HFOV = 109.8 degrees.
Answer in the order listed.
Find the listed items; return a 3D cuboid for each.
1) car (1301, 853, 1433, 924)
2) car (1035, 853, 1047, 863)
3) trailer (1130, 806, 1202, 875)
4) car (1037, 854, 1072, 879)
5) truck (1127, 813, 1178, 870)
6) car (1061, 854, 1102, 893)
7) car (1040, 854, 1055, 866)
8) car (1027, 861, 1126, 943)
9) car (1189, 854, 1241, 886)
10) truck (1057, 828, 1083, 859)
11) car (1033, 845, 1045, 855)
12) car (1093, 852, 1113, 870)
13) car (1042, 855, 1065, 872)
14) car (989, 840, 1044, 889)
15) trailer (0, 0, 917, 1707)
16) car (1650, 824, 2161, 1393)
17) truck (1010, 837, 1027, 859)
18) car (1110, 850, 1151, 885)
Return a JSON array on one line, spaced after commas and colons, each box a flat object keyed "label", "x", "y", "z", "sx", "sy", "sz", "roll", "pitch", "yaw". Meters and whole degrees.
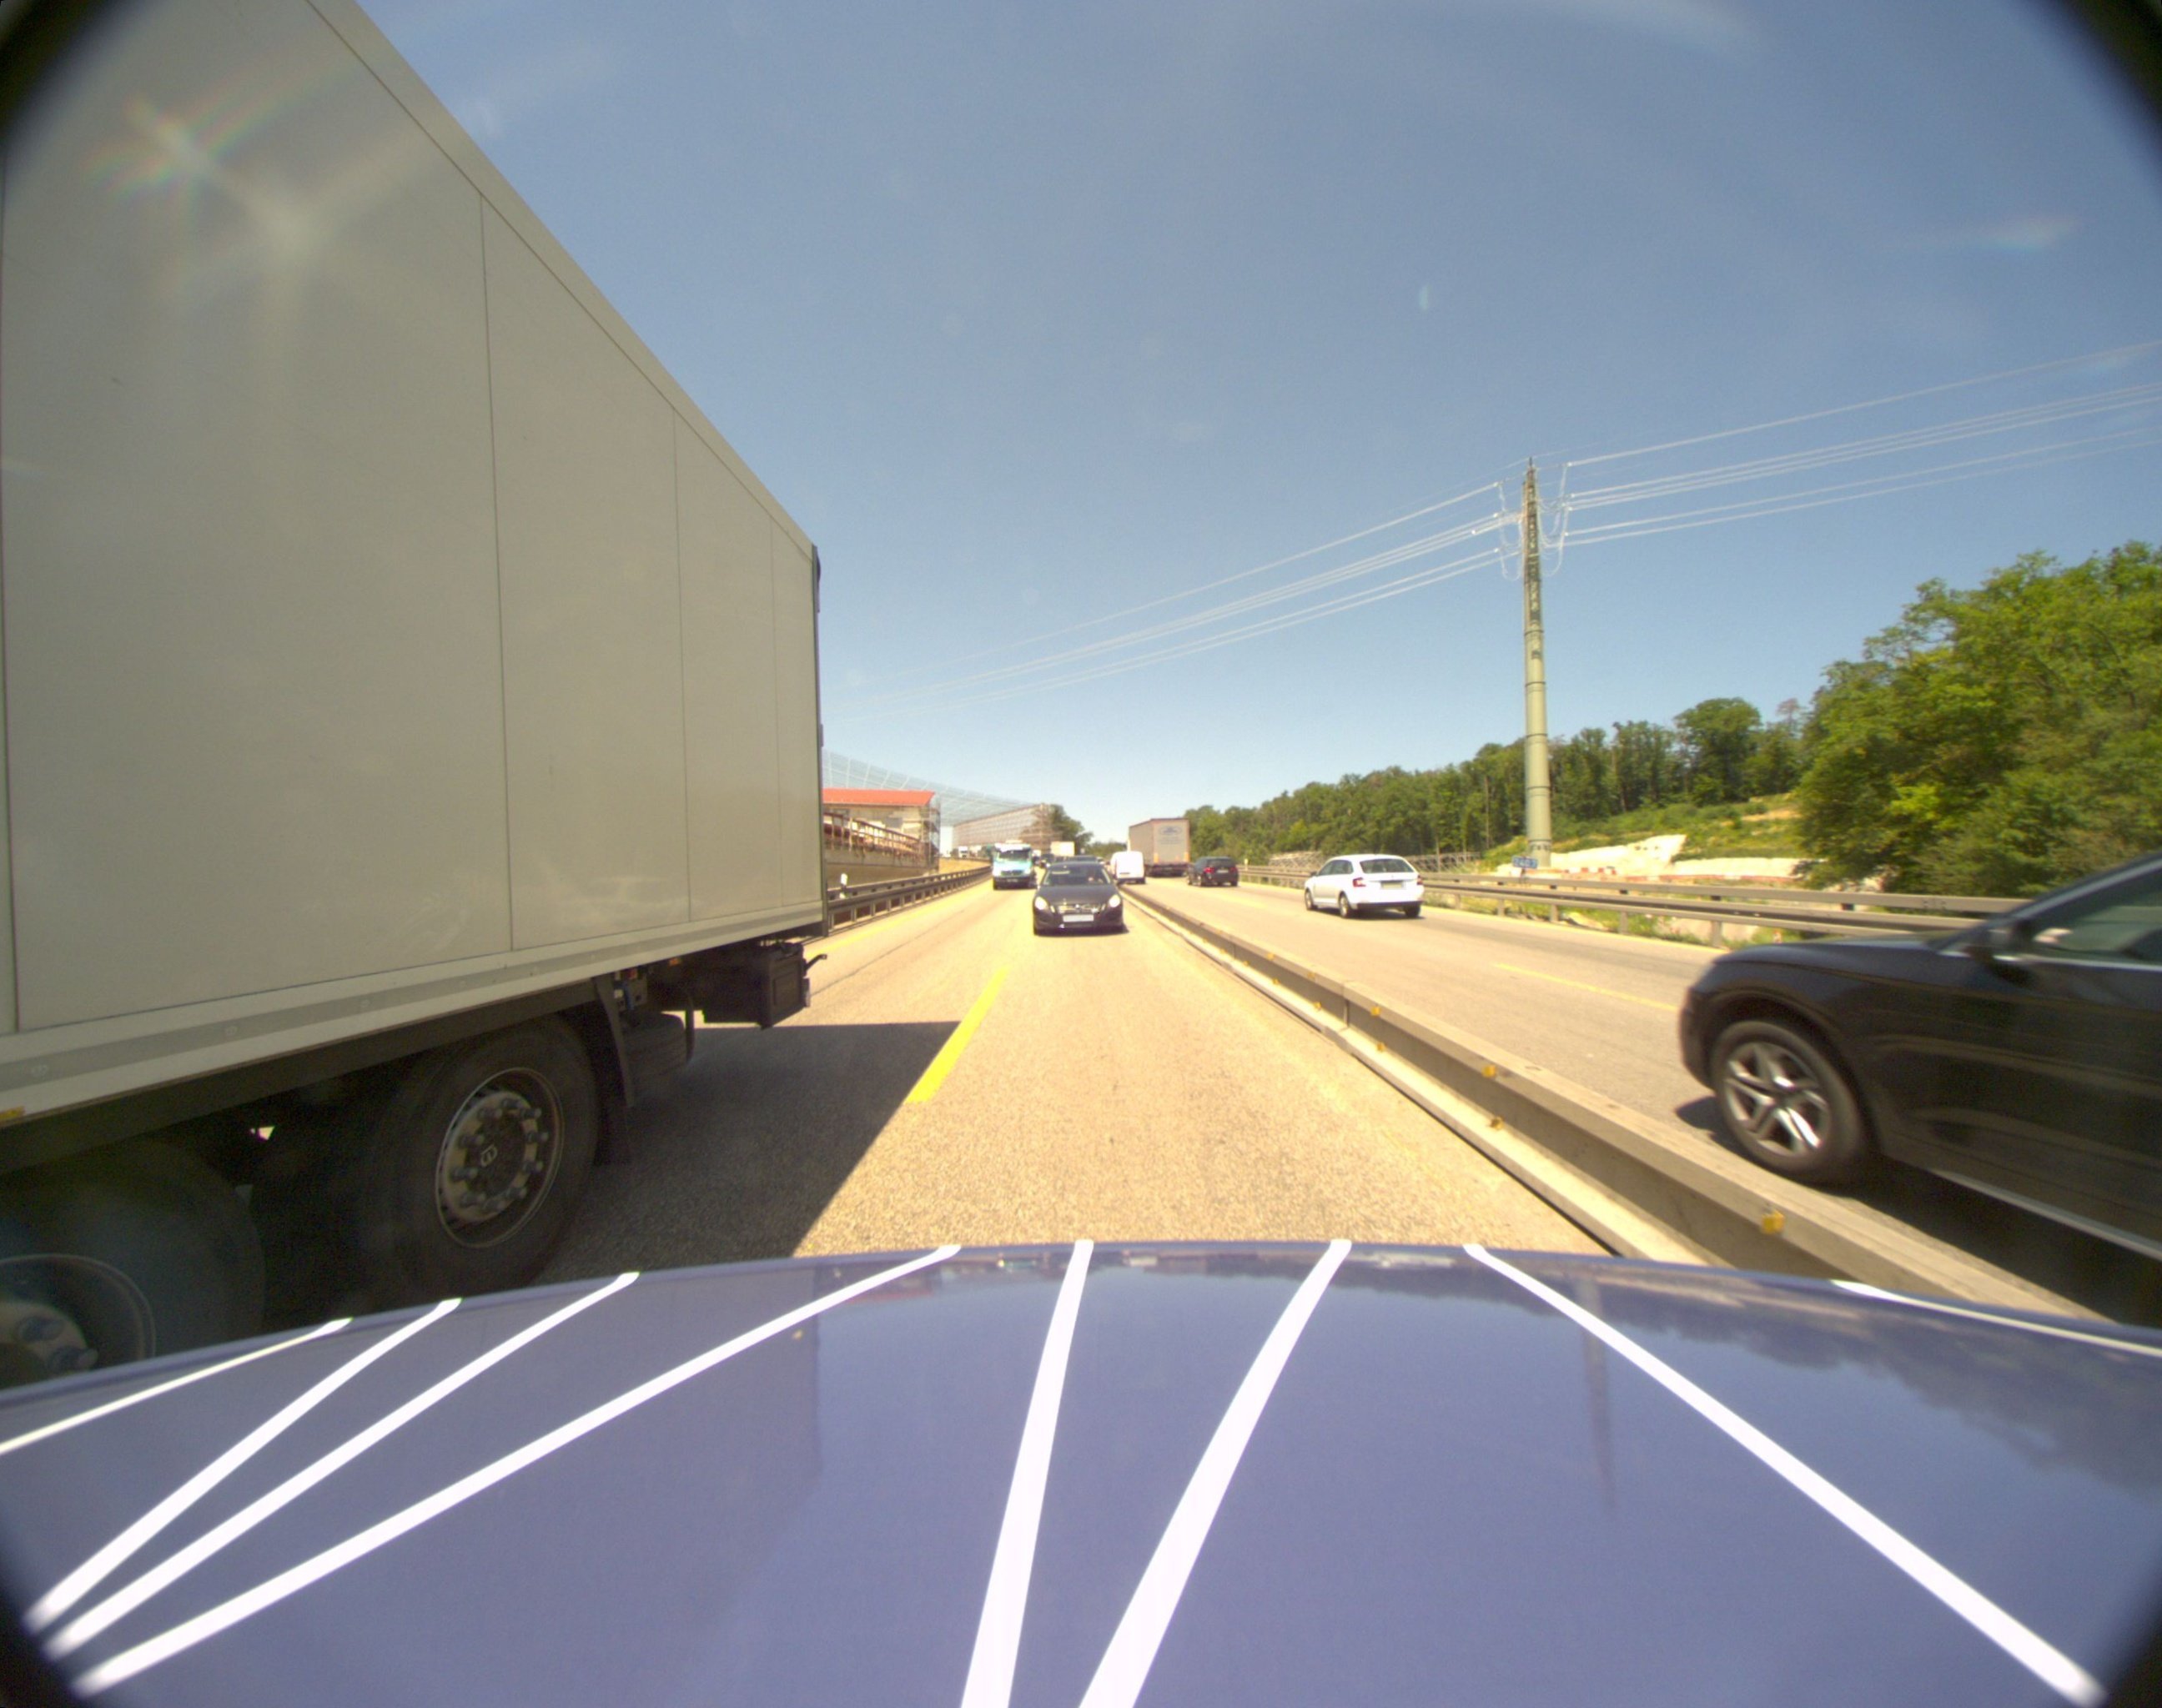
[{"label": "car", "x": 6.752, "y": 0.752, "z": 18.412, "sx": 1.704, "sy": 1.484, "sz": 3.999, "roll": -1, "pitch": 1, "yaw": 0}, {"label": "car", "x": -5.839, "y": 0.635, "z": 112.328, "sx": 1.647, "sy": 1.366, "sz": 3.344, "roll": -2, "pitch": 1, "yaw": -2}, {"label": "trailer", "x": 6.094, "y": -0.926, "z": 57.190, "sx": 3.498, "sy": 4.460, "sz": 12.923, "roll": -2, "pitch": 1, "yaw": -1}, {"label": "car", "x": -1.806, "y": 0.840, "z": 53.479, "sx": 2.297, "sy": 1.601, "sz": 4.664, "roll": -2, "pitch": 1, "yaw": -1}, {"label": "truck", "x": 5.940, "y": -1.029, "z": 64.405, "sx": 3.405, "sy": 4.396, "sz": 7.274, "roll": -2, "pitch": 1, "yaw": -1}, {"label": "car", "x": 0.082, "y": 0.794, "z": 33.225, "sx": 1.519, "sy": 1.543, "sz": 3.861, "roll": -2, "pitch": 1, "yaw": 4}, {"label": "car", "x": -4.221, "y": 0.705, "z": 95.342, "sx": 1.647, "sy": 1.366, "sz": 3.343, "roll": -3, "pitch": 1, "yaw": -5}, {"label": "car", "x": -0.081, "y": 0.936, "z": 16.730, "sx": 1.844, "sy": 1.475, "sz": 4.563, "roll": -2, "pitch": 0, "yaw": 0}, {"label": "car", "x": 6.455, "y": 0.737, "z": 37.010, "sx": 1.781, "sy": 1.420, "sz": 4.303, "roll": -1, "pitch": 1, "yaw": 0}, {"label": "truck", "x": -2.304, "y": -1.963, "z": 144.997, "sx": 3.567, "sy": 5.334, "sz": 16.084, "roll": -3, "pitch": 1, "yaw": -5}, {"label": "car", "x": -10.312, "y": -0.974, "z": 188.117, "sx": 2.916, "sy": 2.424, "sz": 7.371, "roll": -2, "pitch": 1, "yaw": -3}, {"label": "car", "x": 1.956, "y": 0.631, "z": 68.943, "sx": 1.720, "sy": 1.543, "sz": 3.860, "roll": -2, "pitch": 1, "yaw": 0}, {"label": "car", "x": -2.386, "y": 0.782, "z": 66.602, "sx": 1.646, "sy": 1.366, "sz": 3.345, "roll": -2, "pitch": 1, "yaw": 4}, {"label": "car", "x": -3.290, "y": 0.473, "z": 40.083, "sx": 2.217, "sy": 2.312, "sz": 6.901, "roll": -1, "pitch": 0, "yaw": 0}, {"label": "trailer", "x": -3.148, "y": -0.259, "z": 2.388, "sx": 2.538, "sy": 4.103, "sz": 11.546, "roll": -2, "pitch": 1, "yaw": 0}, {"label": "car", "x": 3.964, "y": 0.696, "z": 1.751, "sx": 1.922, "sy": 1.586, "sz": 4.527, "roll": -1, "pitch": 1, "yaw": 0}, {"label": "truck", "x": -10.367, "y": -1.017, "z": 126.188, "sx": 2.471, "sy": 3.464, "sz": 9.863, "roll": -3, "pitch": 1, "yaw": -4}, {"label": "car", "x": 2.710, "y": 0.691, "z": 42.576, "sx": 1.865, "sy": 1.762, "sz": 4.231, "roll": -2, "pitch": 1, "yaw": -2}]
